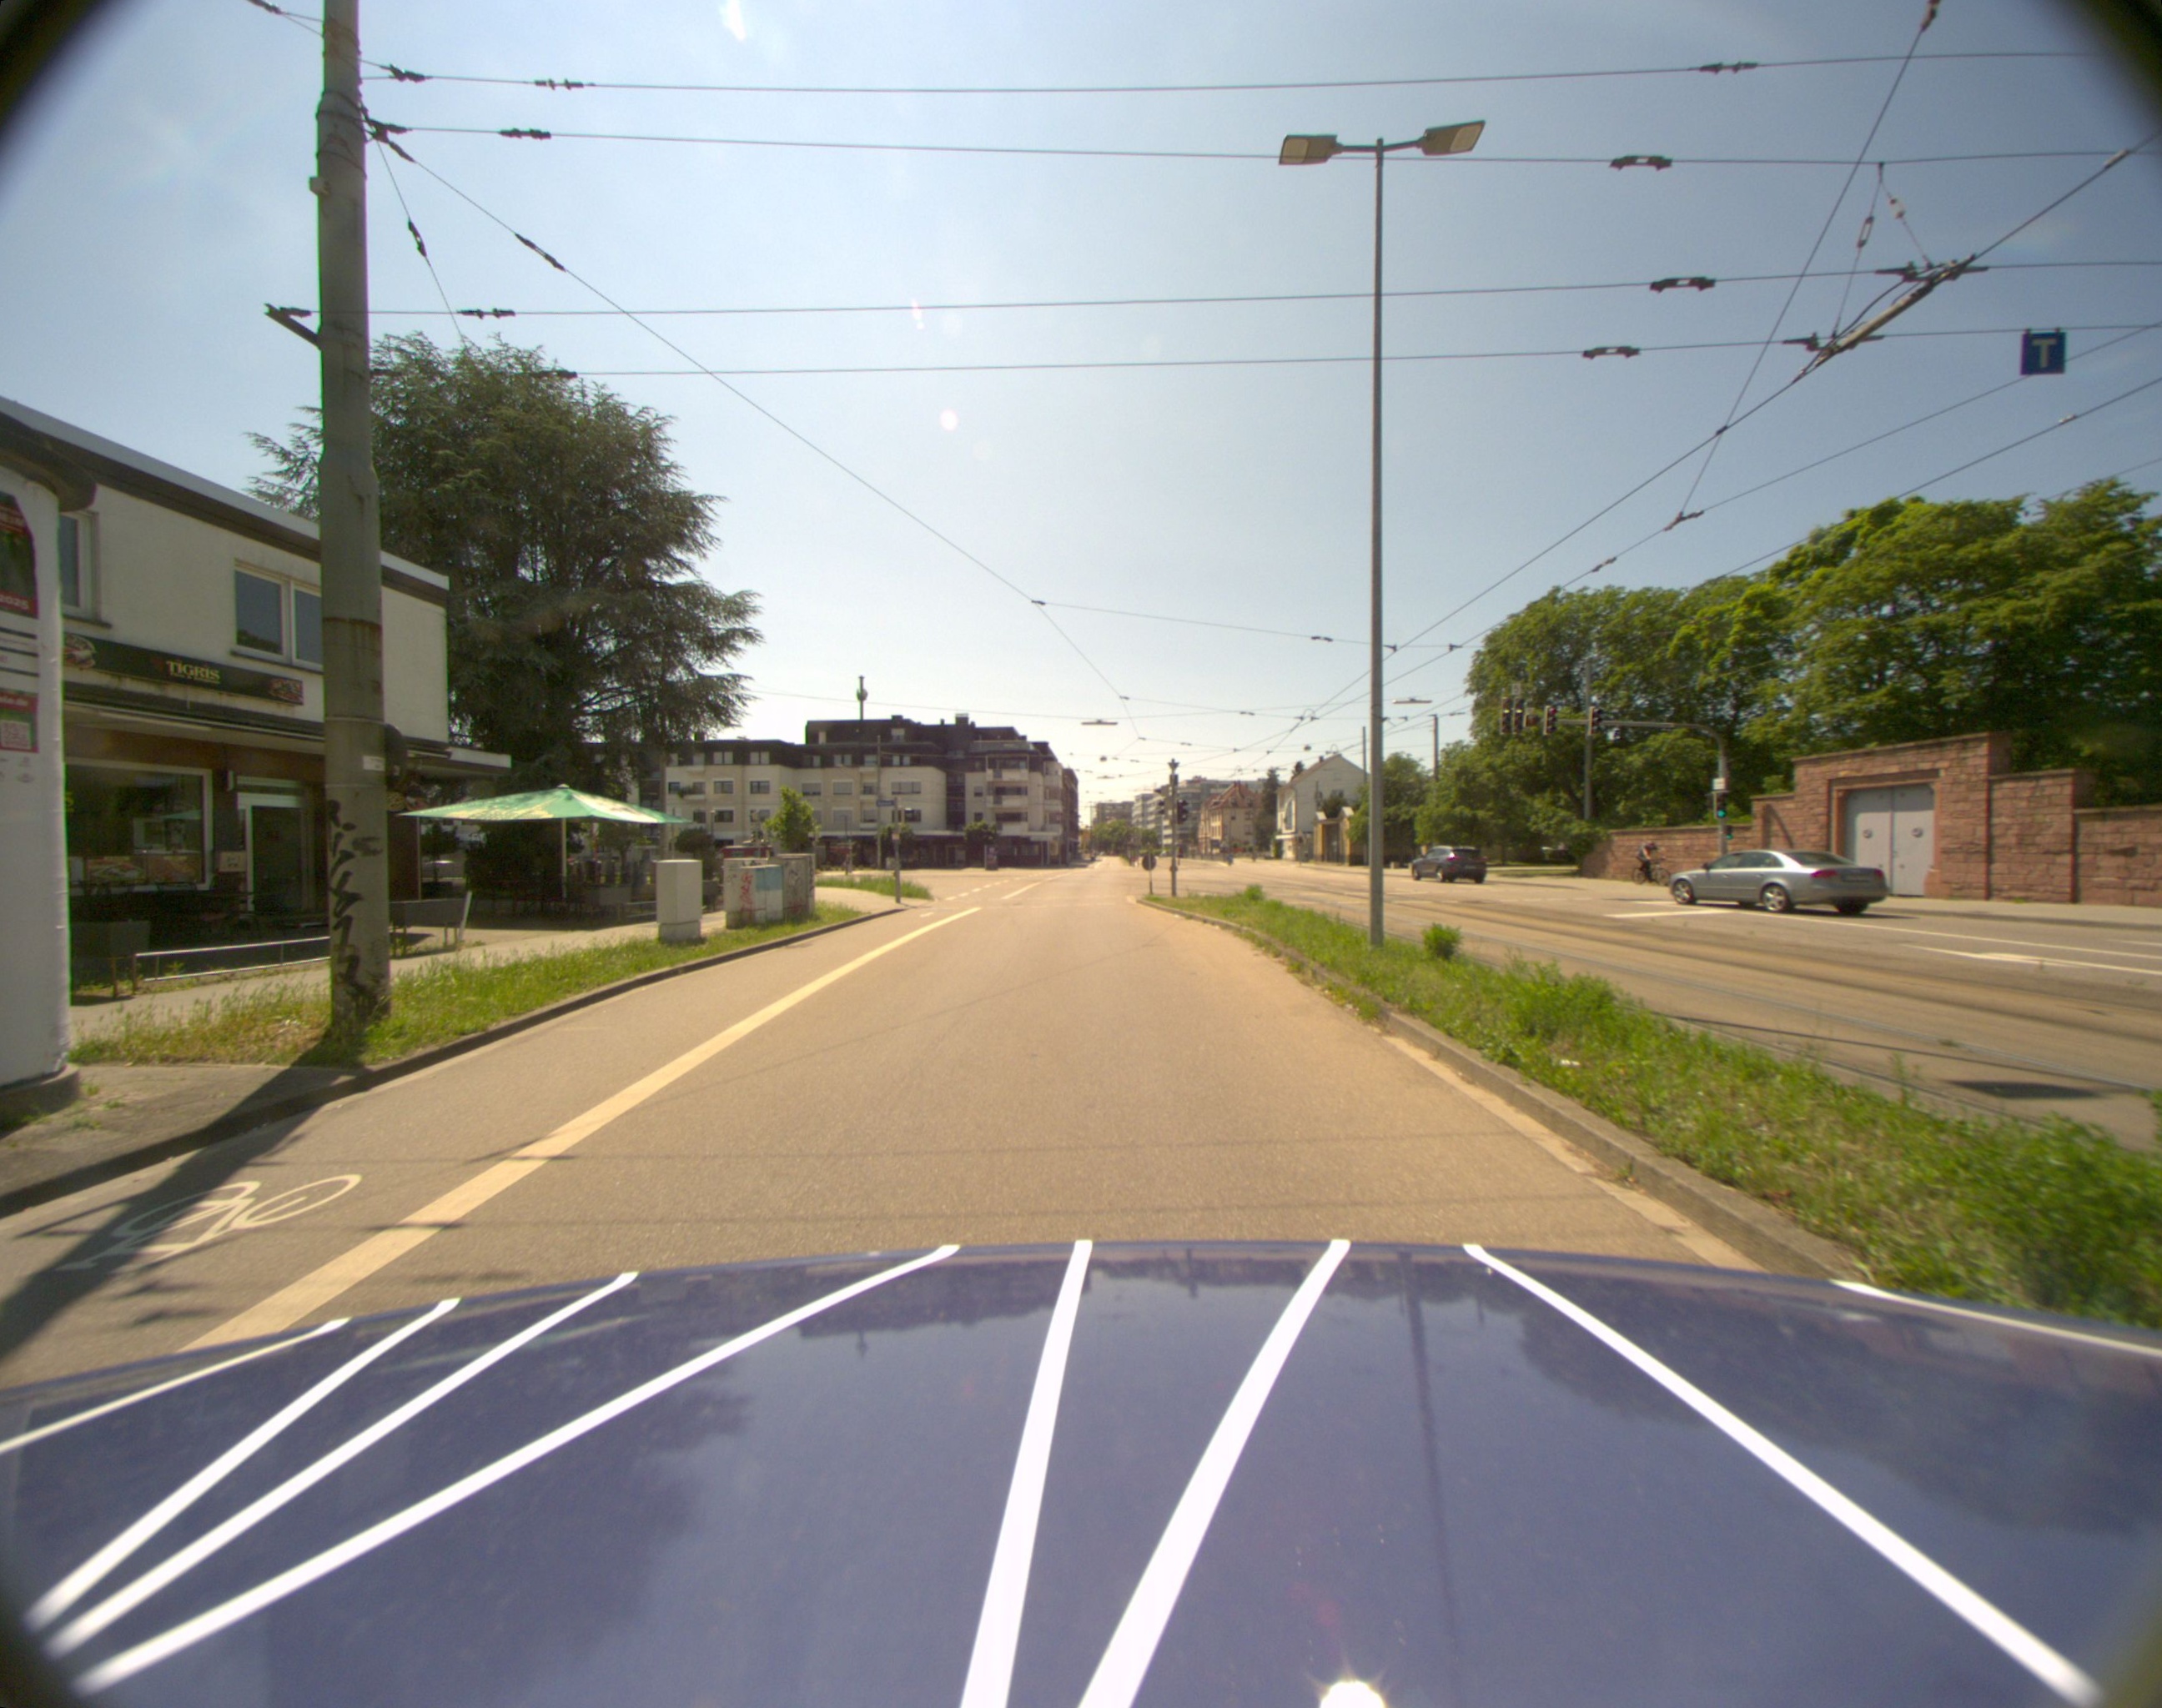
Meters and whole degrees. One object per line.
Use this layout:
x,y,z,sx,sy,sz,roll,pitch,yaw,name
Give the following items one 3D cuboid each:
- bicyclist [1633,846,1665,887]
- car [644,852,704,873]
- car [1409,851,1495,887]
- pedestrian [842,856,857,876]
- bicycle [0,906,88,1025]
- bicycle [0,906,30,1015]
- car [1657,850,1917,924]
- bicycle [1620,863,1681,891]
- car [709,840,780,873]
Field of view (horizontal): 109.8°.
20.684,0.450,27.688,0.654,1.488,0.662,-1,1,1,bicyclist
-34.905,0.727,65.210,3.997,1.740,2.000,0,1,0,car
16.779,0.629,34.608,1.845,1.546,4.466,0,0,2,car
-18.936,0.948,62.157,0.806,1.615,0.944,0,1,8,pedestrian
-10.325,1.060,6.683,0.544,1.062,2.022,0,0,-2,bicycle
-10.913,1.063,6.688,0.544,1.062,2.022,0,0,-2,bicycle
16.227,0.673,17.902,1.845,1.408,4.711,-3,0,3,car
20.693,0.811,27.663,0.654,0.951,2.114,-1,0,1,bicycle
-28.753,0.227,65.045,5.202,2.712,2.001,0,1,1,car
